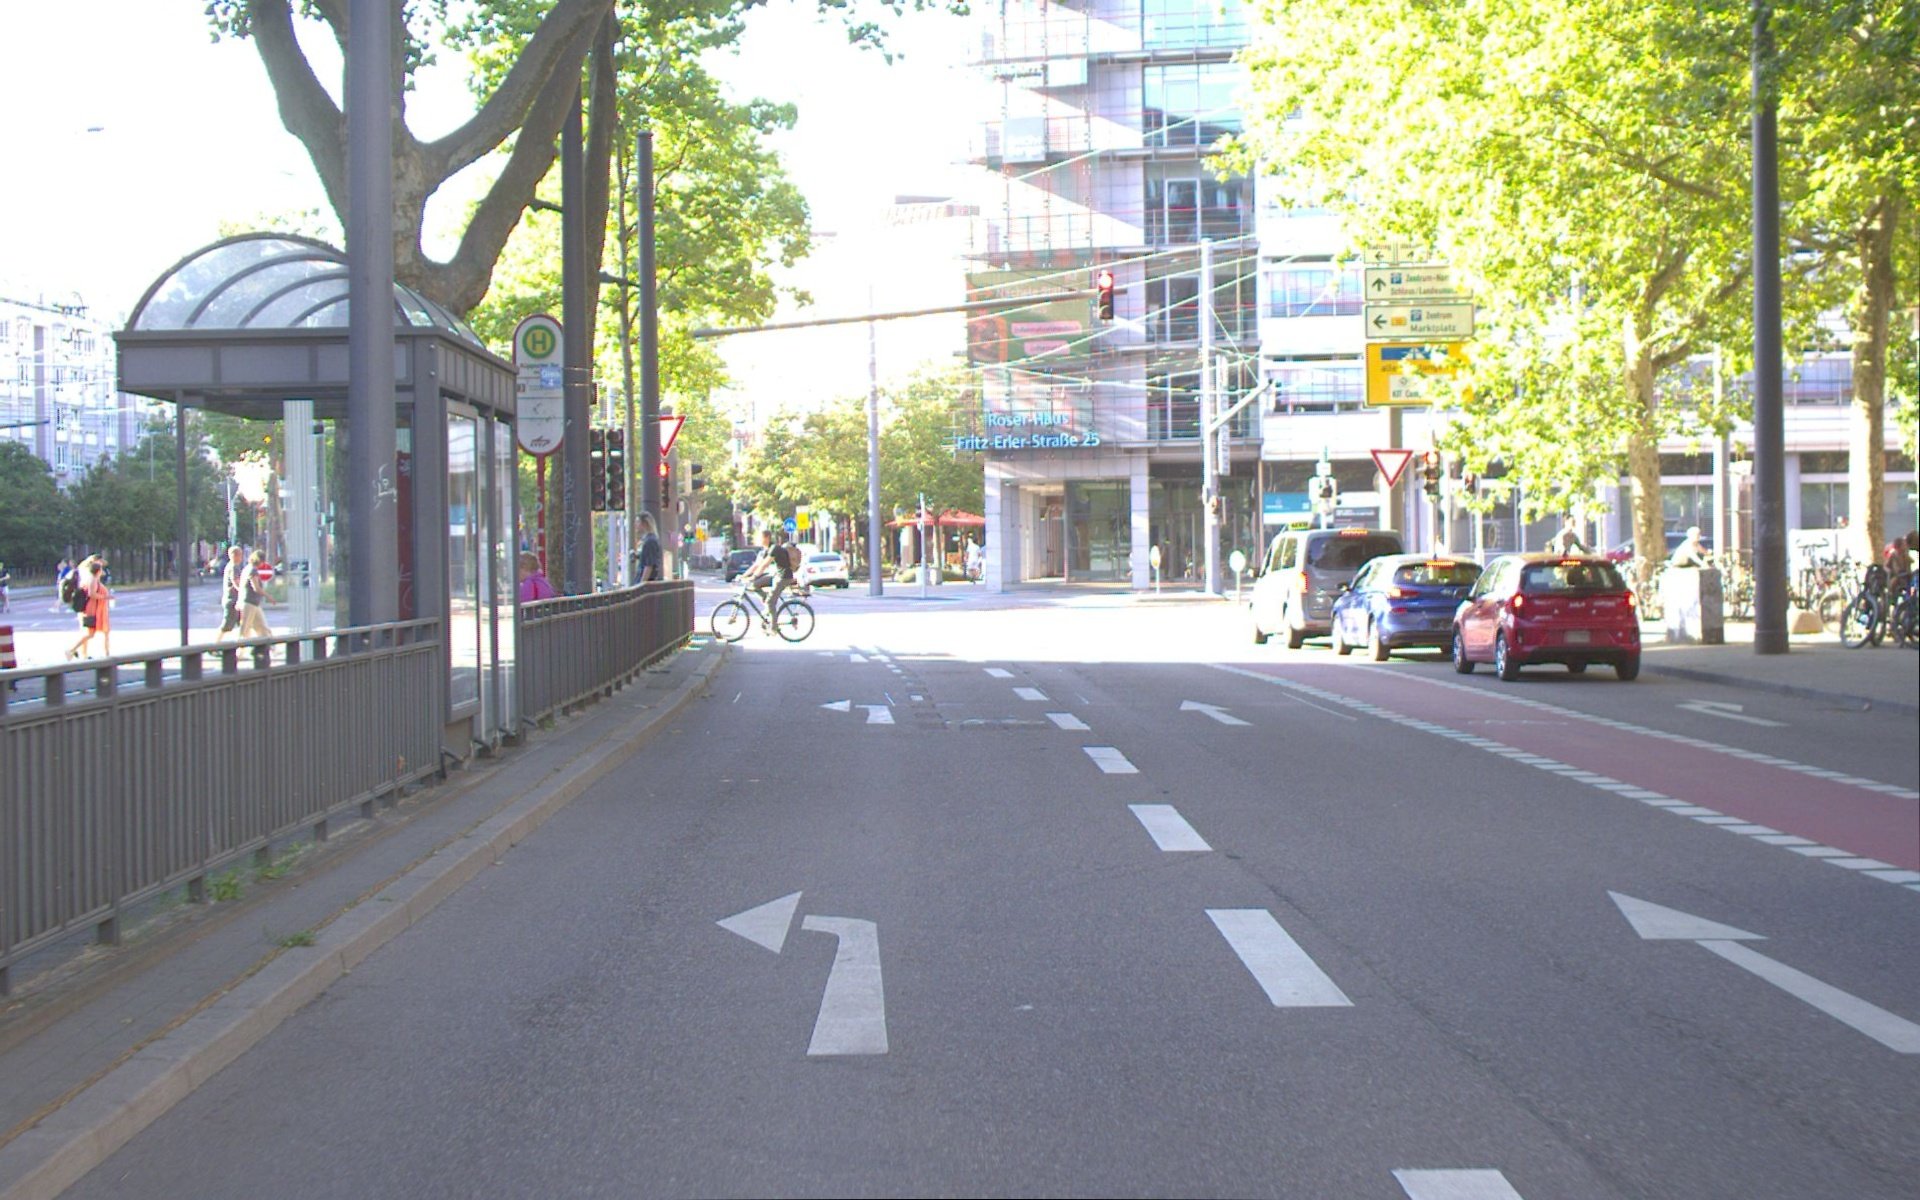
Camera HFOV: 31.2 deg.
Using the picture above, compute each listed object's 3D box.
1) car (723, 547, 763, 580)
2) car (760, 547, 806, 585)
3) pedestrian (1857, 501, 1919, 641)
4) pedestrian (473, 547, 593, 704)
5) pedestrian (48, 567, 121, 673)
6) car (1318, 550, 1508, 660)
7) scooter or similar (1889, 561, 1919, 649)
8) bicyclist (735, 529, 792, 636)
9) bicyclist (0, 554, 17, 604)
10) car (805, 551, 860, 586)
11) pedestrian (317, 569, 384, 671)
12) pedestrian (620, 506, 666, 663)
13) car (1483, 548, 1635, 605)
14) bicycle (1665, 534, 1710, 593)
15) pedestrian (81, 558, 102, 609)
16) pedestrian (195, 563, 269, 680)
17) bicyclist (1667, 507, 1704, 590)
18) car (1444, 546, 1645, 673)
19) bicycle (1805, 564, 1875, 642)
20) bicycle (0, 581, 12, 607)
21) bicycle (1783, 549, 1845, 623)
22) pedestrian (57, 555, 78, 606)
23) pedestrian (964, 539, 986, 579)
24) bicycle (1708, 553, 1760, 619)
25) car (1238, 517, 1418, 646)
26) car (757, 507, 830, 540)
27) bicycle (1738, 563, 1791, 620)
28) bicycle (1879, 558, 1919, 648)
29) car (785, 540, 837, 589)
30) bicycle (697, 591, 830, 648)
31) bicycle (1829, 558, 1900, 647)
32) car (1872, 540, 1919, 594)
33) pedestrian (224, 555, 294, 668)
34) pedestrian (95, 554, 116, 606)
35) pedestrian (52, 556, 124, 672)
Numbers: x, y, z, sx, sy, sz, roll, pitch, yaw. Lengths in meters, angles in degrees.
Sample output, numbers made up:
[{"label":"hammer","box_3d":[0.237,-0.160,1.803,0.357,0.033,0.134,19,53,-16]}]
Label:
[{"label":"car","box_3d":[-11.353,-1.899,179.526,1.993,1.656,4.001,-1,1,-4]},{"label":"car","box_3d":[-8.152,-1.568,157.888,1.993,1.656,4.001,-1,1,-4]},{"label":"pedestrian","box_3d":[12.035,-0.376,44.302,0.807,1.780,0.657,-1,1,23]},{"label":"pedestrian","box_3d":[-3.852,0.228,31.065,0.977,1.395,0.664,1,0,1]},{"label":"pedestrian","box_3d":[-13.914,0.313,54.669,1.072,1.676,0.758,0,0,-11]},{"label":"car","box_3d":[6.363,0.039,48.710,1.764,1.459,4.218,-1,1,-5]},{"label":"scooter or similar","box_3d":[13.193,0.085,45.821,1.252,1.138,0.916,2,-2,-17]},{"label":"bicyclist","box_3d":[-3.341,-0.304,58.342,0.849,1.779,0.753,-1,1,-9]},{"label":"bicyclist","box_3d":[-32.513,-0.710,117.153,0.593,1.670,0.790,-1,1,-10]},{"label":"car","box_3d":[-5.052,-1.269,135.913,1.993,1.327,4.001,-1,1,-4]},{"label":"pedestrian","box_3d":[-10.230,0.336,57.743,1.073,1.709,0.628,0,0,-7]},{"label":"pedestrian","box_3d":[-3.872,-0.188,42.013,0.509,1.894,0.760,1,0,-3]},{"label":"car","box_3d":[17.710,-0.692,101.781,4.241,1.596,1.795,-1,1,3]},{"label":"bicycle","box_3d":[14.272,-0.722,67.503,0.566,1.122,1.778,-1,1,3]},{"label":"pedestrian","box_3d":[-28.240,-0.545,111.831,0.536,1.644,0.626,-2,1,-23]},{"label":"pedestrian","box_3d":[-11.861,0.348,56.032,1.145,1.887,0.833,0,0,-11]},{"label":"bicyclist","box_3d":[14.271,-1.020,67.598,0.562,1.611,0.821,-1,1,3]},{"label":"car","box_3d":[6.957,0.084,41.237,1.558,1.459,3.622,0,1,-4]},{"label":"bicycle","box_3d":[12.333,0.031,48.212,0.627,1.053,1.572,-1,1,2]},{"label":"bicycle","box_3d":[-32.607,-0.198,117.094,0.512,0.878,1.840,-1,1,-12]},{"label":"bicycle","box_3d":[15.148,-0.265,60.990,0.450,1.282,1.887,-1,1,-5]},{"label":"pedestrian","box_3d":[-28.678,-0.630,110.455,0.536,1.644,0.626,-2,1,-23]},{"label":"pedestrian","box_3d":[0.566,-1.551,129.817,0.739,1.460,0.537,-1,1,-5]},{"label":"bicycle","box_3d":[13.573,-0.251,60.312,0.450,1.140,1.477,-1,1,-5]},{"label":"car","box_3d":[5.851,-0.323,55.301,1.993,1.959,5.138,1,1,-4]},{"label":"car","box_3d":[-9.374,-4.313,193.833,3.763,1.744,1.781,1,0,11]},{"label":"bicycle","box_3d":[14.257,-0.155,60.978,0.450,0.979,1.477,-1,1,-5]},{"label":"bicycle","box_3d":[12.248,0.026,44.089,0.596,1.112,1.947,-1,1,24]},{"label":"car","box_3d":[-6.193,-1.488,142.687,1.993,1.985,4.001,-1,1,-4]},{"label":"bicycle","box_3d":[-3.336,0.324,58.354,2.176,0.930,0.668,-1,1,-10]},{"label":"bicycle","box_3d":[11.790,0.028,44.775,0.596,1.112,1.824,-1,1,24]},{"label":"car","box_3d":[29.181,-0.992,101.059,4.241,1.555,1.795,-1,1,2]},{"label":"pedestrian","box_3d":[-11.250,0.185,55.197,1.071,1.800,0.758,0,0,-11]},{"label":"pedestrian","box_3d":[-27.595,-0.639,110.993,0.536,1.644,0.626,-2,1,-23]},{"label":"pedestrian","box_3d":[-14.046,0.223,55.409,1.073,1.865,0.739,0,0,-11]}]
